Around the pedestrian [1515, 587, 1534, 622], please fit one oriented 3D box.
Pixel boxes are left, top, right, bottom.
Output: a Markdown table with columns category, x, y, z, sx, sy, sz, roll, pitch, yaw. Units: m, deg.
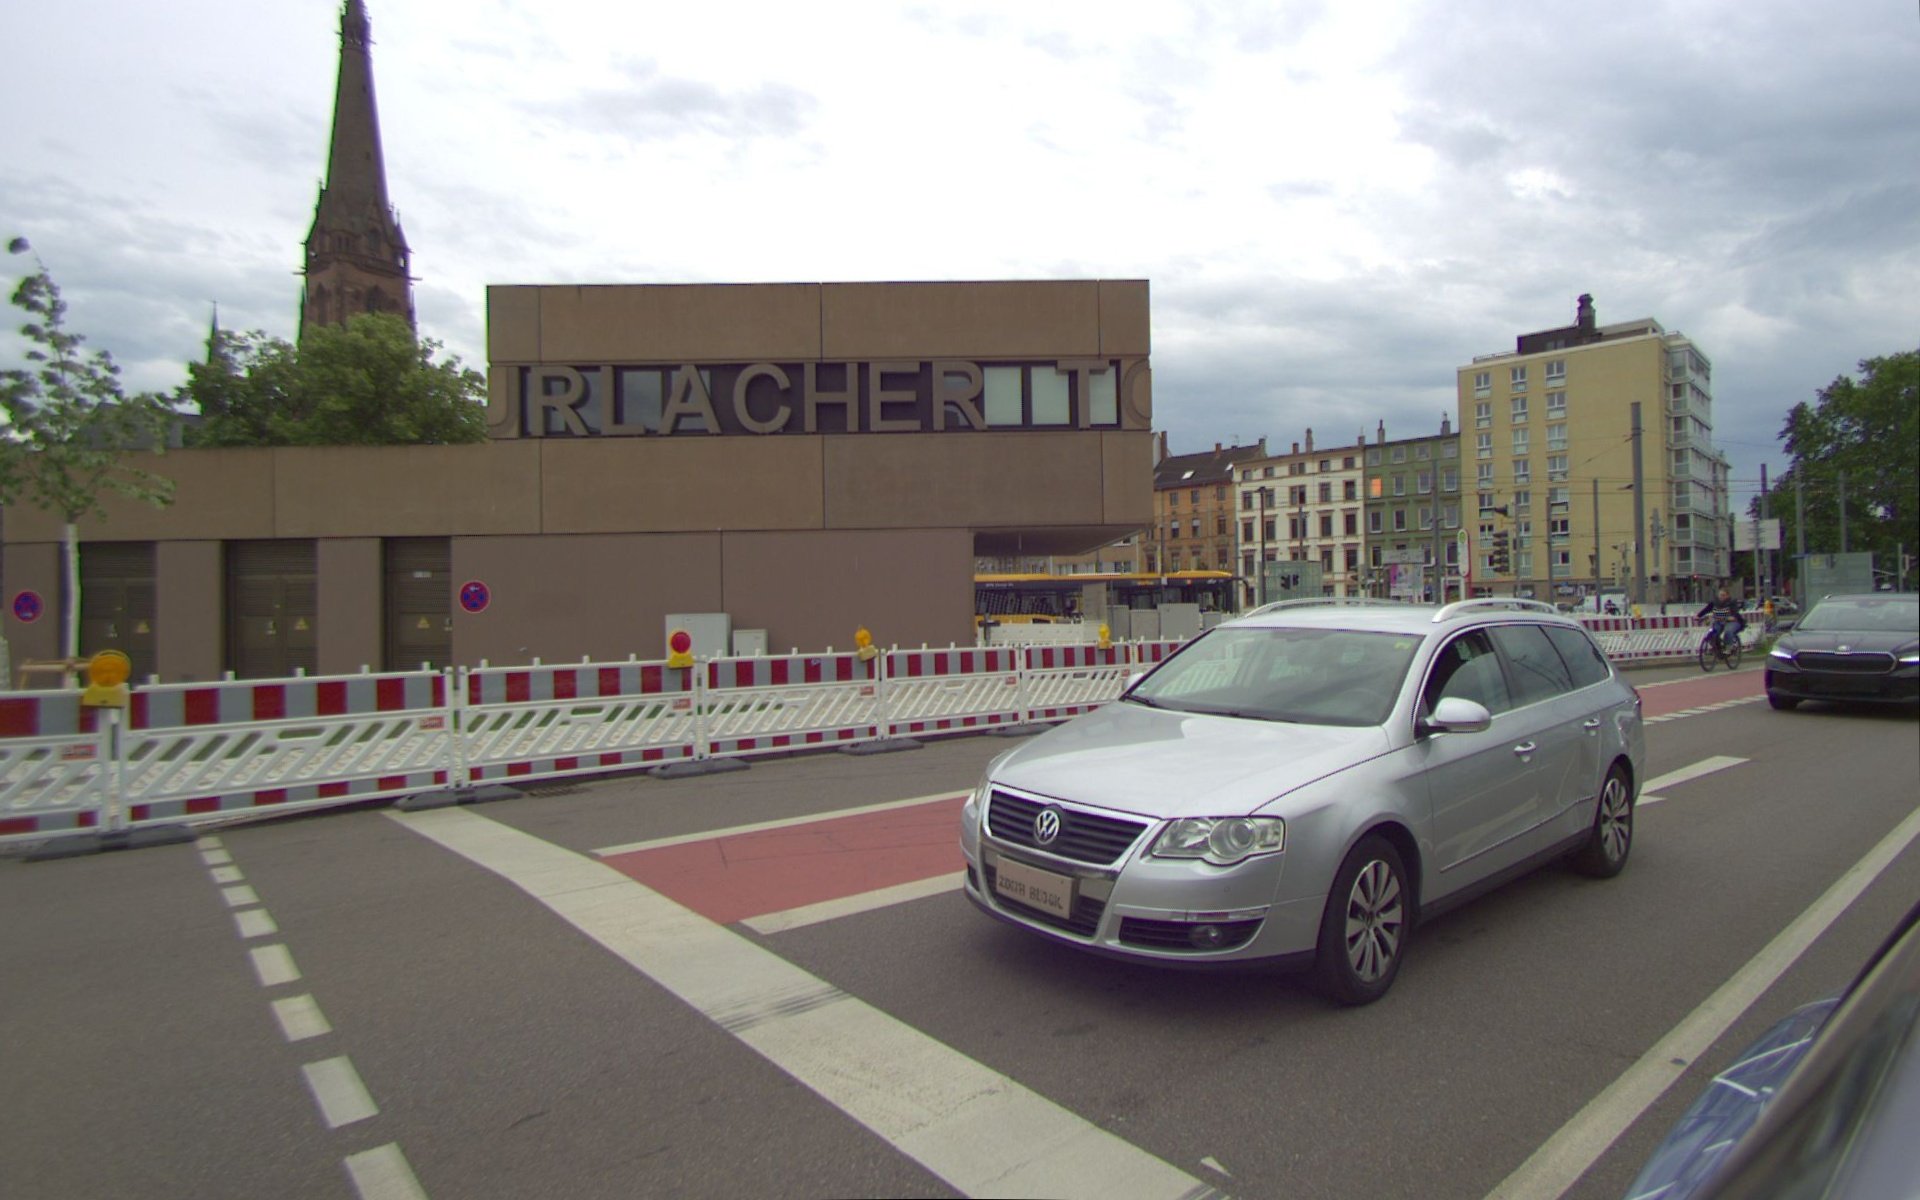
| category | x | y | z | sx | sy | sz | roll | pitch | yaw |
| --- | --- | --- | --- | --- | --- | --- | --- | --- | --- |
| pedestrian | 31.979 | 0.252 | 57.322 | 0.775 | 1.936 | 0.897 | -1 | -1 | 22 |

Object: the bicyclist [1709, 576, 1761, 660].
| category | x | y | z | sx | sy | sz | roll | pitch | yaw |
| --- | --- | --- | --- | --- | --- | --- | --- | --- | --- |
| bicyclist | 16.127 | 0.368 | 21.068 | 0.790 | 1.712 | 0.617 | 1 | -2 | -34 |

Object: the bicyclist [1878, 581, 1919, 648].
| category | x | y | z | sx | sy | sz | roll | pitch | yaw |
| --- | --- | --- | --- | --- | --- | --- | --- | --- | --- |
| bicyclist | 23.737 | 0.368 | 25.246 | 0.913 | 1.639 | 0.792 | 0 | -3 | -17 |

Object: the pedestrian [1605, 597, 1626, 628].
| category | x | y | z | sx | sy | sz | roll | pitch | yaw |
| --- | --- | --- | --- | --- | --- | --- | --- | --- | --- |
| pedestrian | 35.924 | 0.690 | 55.485 | 0.775 | 1.664 | 0.897 | -1 | -1 | 22 |

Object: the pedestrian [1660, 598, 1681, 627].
| category | x | y | z | sx | sy | sz | roll | pitch | yaw |
| --- | --- | --- | --- | --- | --- | --- | --- | --- | --- |
| pedestrian | 40.830 | 0.720 | 58.192 | 0.775 | 1.622 | 0.890 | -1 | -1 | 22 |

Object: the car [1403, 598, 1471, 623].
| category | x | y | z | sx | sy | sz | roll | pitch | yaw |
| --- | --- | --- | --- | --- | --- | --- | --- | --- | --- |
| car | 34.445 | 0.750 | 73.211 | 1.966 | 1.772 | 3.992 | 0 | -1 | -42 |

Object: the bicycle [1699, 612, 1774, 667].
| category | x | y | z | sx | sy | sz | roll | pitch | yaw |
| --- | --- | --- | --- | --- | --- | --- | --- | --- | --- |
| bicycle | 16.215 | 0.799 | 21.115 | 2.085 | 1.068 | 0.627 | -1 | -1 | -35 |

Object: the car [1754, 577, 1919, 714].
| category | x | y | z | sx | sy | sz | roll | pitch | yaw |
| --- | --- | --- | --- | --- | --- | --- | --- | --- | --- |
| car | 13.082 | 0.558 | 14.289 | 4.432 | 1.679 | 1.908 | 0 | -1 | -38 |

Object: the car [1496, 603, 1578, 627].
| category | x | y | z | sx | sy | sz | roll | pitch | yaw |
| --- | --- | --- | --- | --- | --- | --- | --- | --- | --- |
| car | 38.824 | 1.011 | 68.180 | 1.966 | 1.505 | 4.436 | 0 | -1 | -42 |

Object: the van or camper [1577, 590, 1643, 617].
| category | x | y | z | sx | sy | sz | roll | pitch | yaw |
| --- | --- | --- | --- | --- | --- | --- | --- | --- | --- |
| van or camper | 49.622 | 0.278 | 77.377 | 2.136 | 2.004 | 5.452 | -1 | -1 | 9 |

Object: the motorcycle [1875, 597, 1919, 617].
| category | x | y | z | sx | sy | sz | roll | pitch | yaw |
| --- | --- | --- | --- | --- | --- | --- | --- | --- | --- |
| motorcycle | 66.059 | 0.474 | 71.244 | 2.279 | 1.383 | 1.033 | 0 | 0 | 37 |

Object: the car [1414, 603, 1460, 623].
| category | x | y | z | sx | sy | sz | roll | pitch | yaw |
| --- | --- | --- | --- | --- | --- | --- | --- | --- | --- |
| car | 39.969 | 1.066 | 84.863 | 1.701 | 1.608 | 3.743 | -1 | -1 | -9 |

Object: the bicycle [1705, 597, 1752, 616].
| category | x | y | z | sx | sy | sz | roll | pitch | yaw |
| --- | --- | --- | --- | --- | --- | --- | --- | --- | --- |
| bicycle | 59.800 | 0.515 | 78.759 | 0.888 | 1.395 | 2.778 | 0 | -1 | -42 |

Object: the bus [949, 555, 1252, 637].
| category | x | y | z | sx | sy | sz | roll | pitch | yaw |
| --- | --- | --- | --- | --- | --- | --- | --- | --- | --- |
| bus | 5.928 | -0.149 | 44.491 | 12.795 | 3.310 | 3.025 | -1 | -1 | 1 |

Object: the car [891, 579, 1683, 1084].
| category | x | y | z | sx | sy | sz | roll | pitch | yaw |
| --- | --- | --- | --- | --- | --- | --- | --- | --- | --- |
| car | 1.983 | 0.680 | 5.156 | 4.547 | 1.501 | 1.723 | 0 | 0 | -40 |

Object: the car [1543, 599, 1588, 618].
| category | x | y | z | sx | sy | sz | roll | pitch | yaw |
| --- | --- | --- | --- | --- | --- | --- | --- | --- | --- |
| car | 47.517 | 0.679 | 79.504 | 1.707 | 1.435 | 3.728 | -1 | -2 | 9 |

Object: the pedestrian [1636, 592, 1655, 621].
| category | x | y | z | sx | sy | sz | roll | pitch | yaw |
| --- | --- | --- | --- | --- | --- | --- | --- | --- | --- |
| pedestrian | 42.577 | 0.429 | 62.839 | 0.779 | 1.779 | 1.041 | -1 | -1 | 24 |

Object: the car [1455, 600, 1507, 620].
| category | x | y | z | sx | sy | sz | roll | pitch | yaw |
| --- | --- | --- | --- | --- | --- | --- | --- | --- | --- |
| car | 42.510 | 0.834 | 82.676 | 1.853 | 1.602 | 3.743 | -1 | -1 | -9 |
